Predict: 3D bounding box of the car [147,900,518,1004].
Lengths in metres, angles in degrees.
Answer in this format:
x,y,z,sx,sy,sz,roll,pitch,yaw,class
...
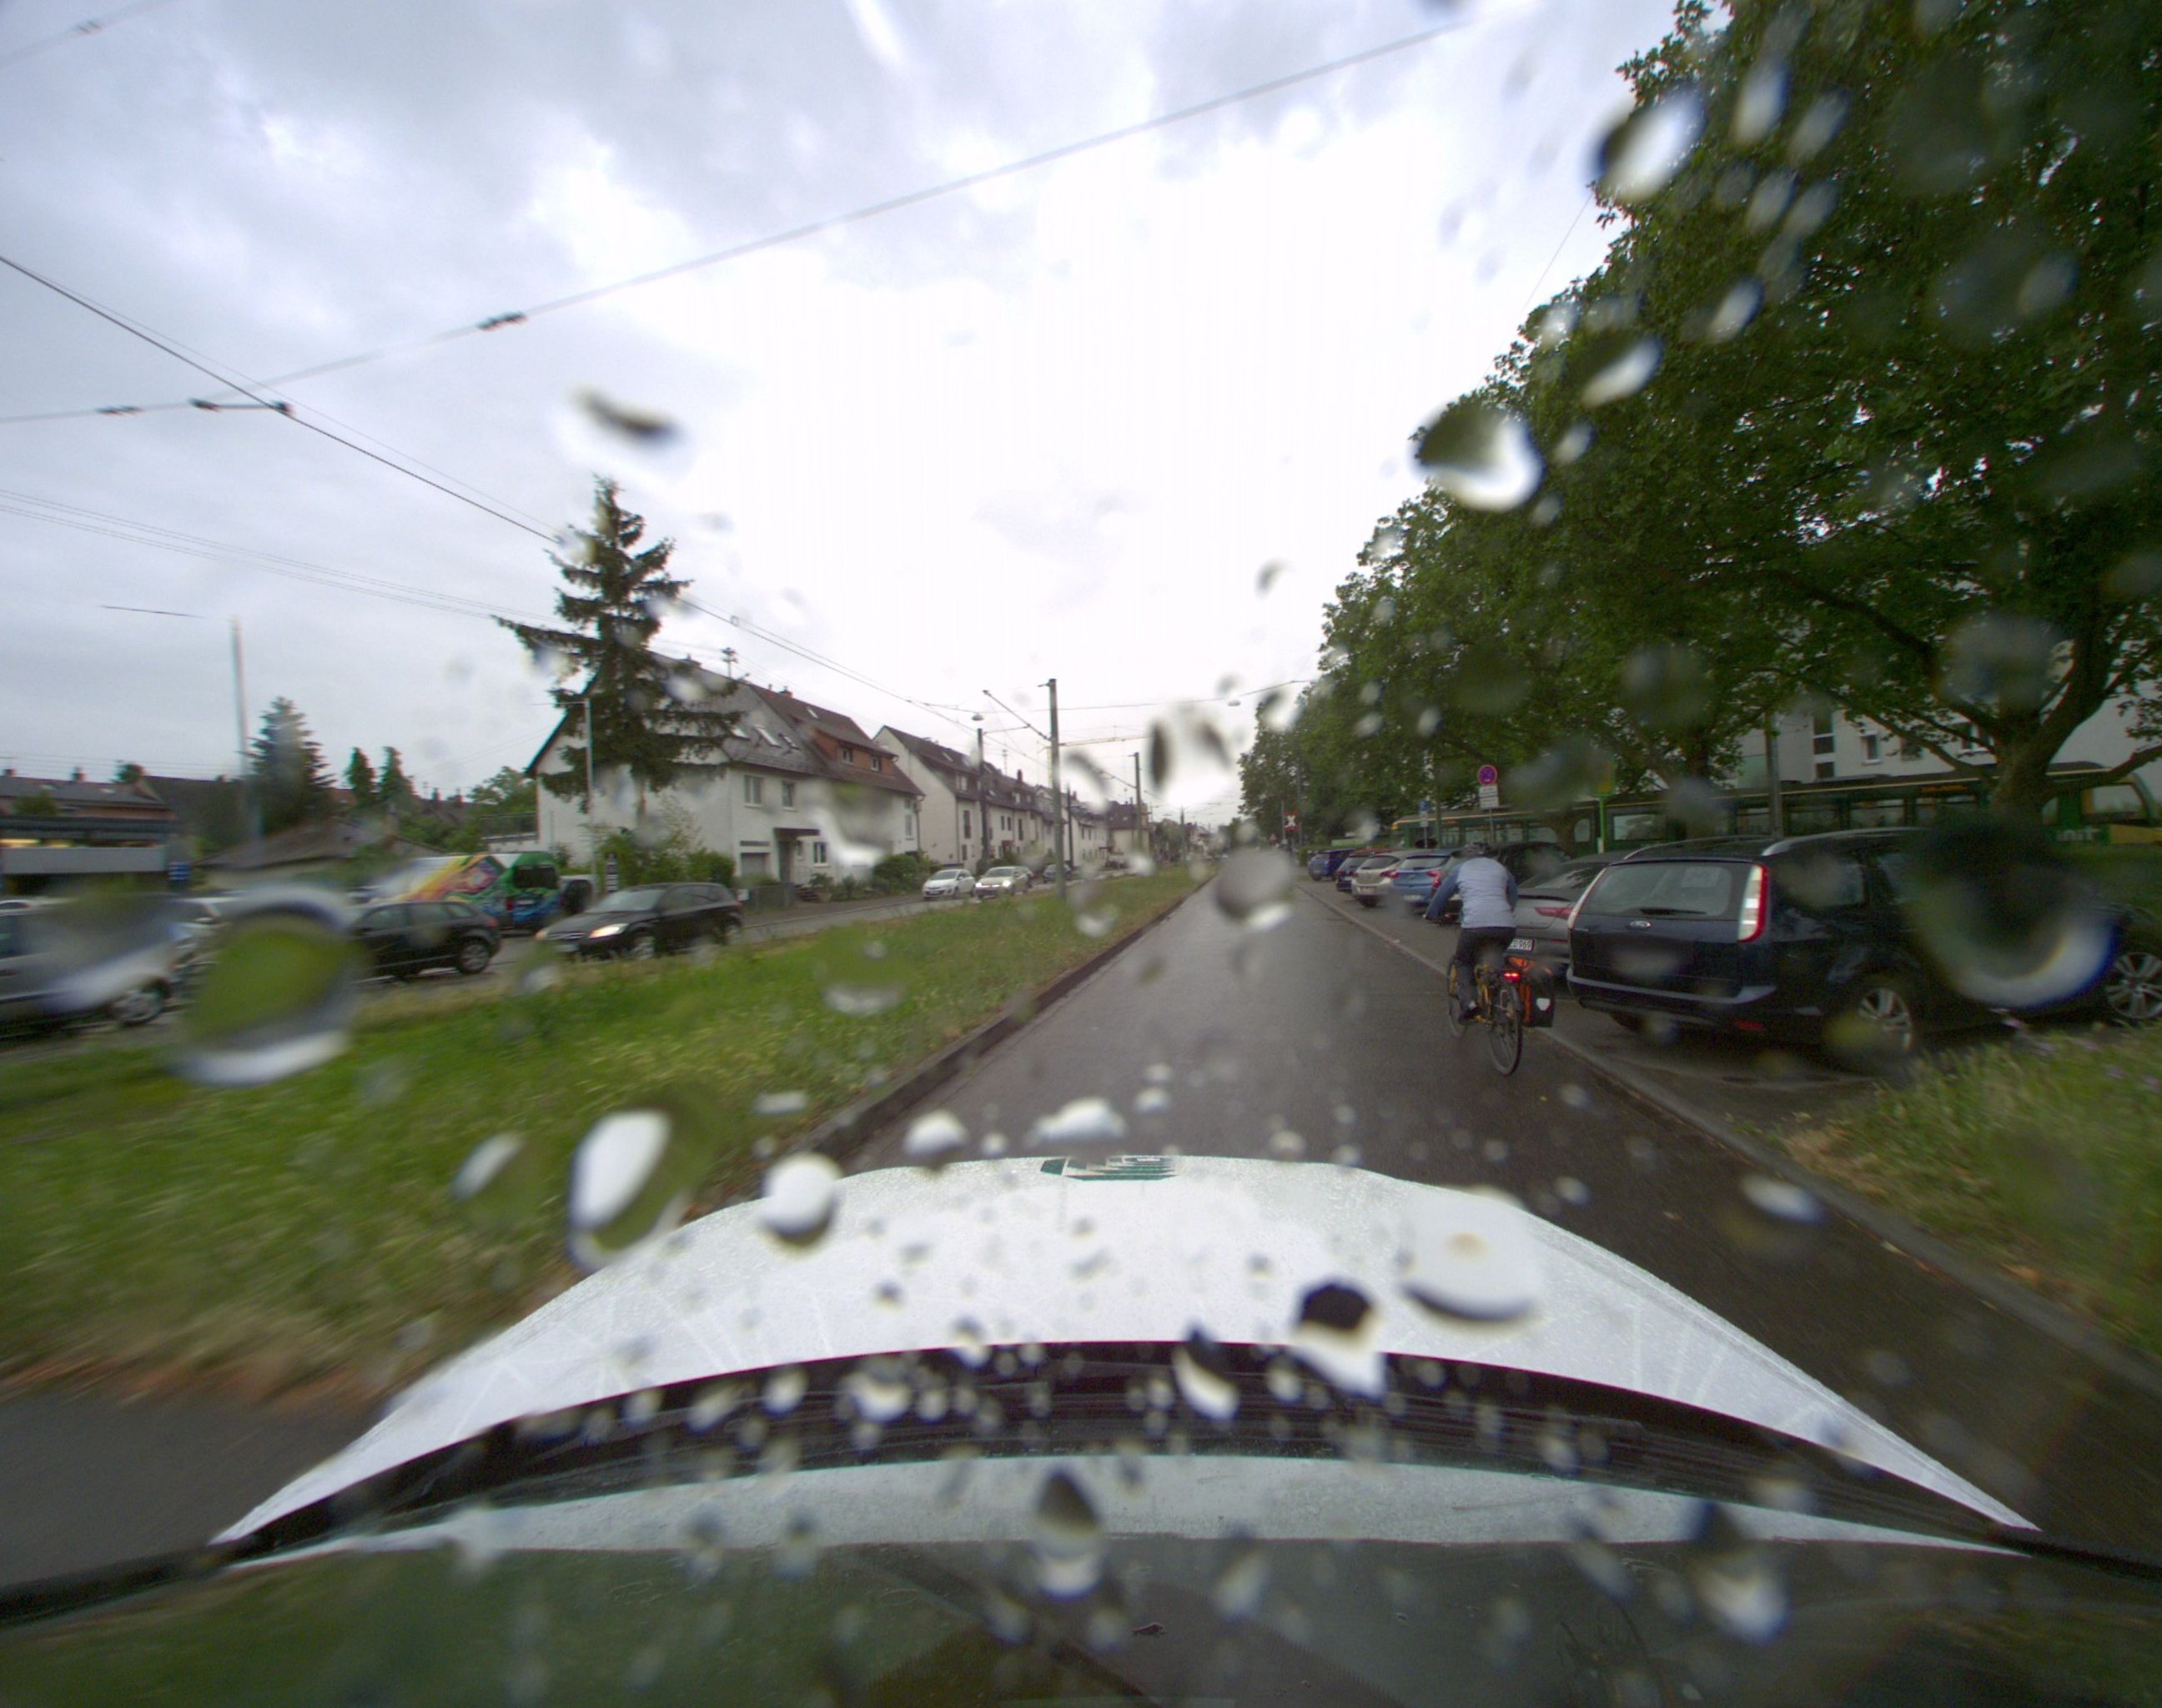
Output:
x,y,z,sx,sy,sz,roll,pitch,yaw,class
-12.186,1.531,13.756,1.706,1.339,4.402,-3,-3,12,car

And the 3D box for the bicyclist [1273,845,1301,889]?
x,y,z,sx,sy,sz,roll,pitch,yaw,class
7.625,0.492,30.186,0.826,1.558,0.916,-3,-2,8,bicyclist

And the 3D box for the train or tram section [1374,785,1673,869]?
x,y,z,sx,sy,sz,roll,pitch,yaw,class
22.829,-1.105,43.889,2.724,3.590,14.585,0,-2,-32,train or tram section

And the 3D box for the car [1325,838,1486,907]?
x,y,z,sx,sy,sz,roll,pitch,yaw,class
8.835,0.498,22.144,4.013,1.553,1.941,-3,-2,-31,car

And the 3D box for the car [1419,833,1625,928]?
x,y,z,sx,sy,sz,roll,pitch,yaw,class
8.708,0.502,16.097,3.523,1.506,1.740,-4,-2,-25,car

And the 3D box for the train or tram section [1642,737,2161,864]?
x,y,z,sx,sy,sz,roll,pitch,yaw,class
30.568,-1.571,31.549,2.724,3.590,14.585,0,-2,-32,train or tram section

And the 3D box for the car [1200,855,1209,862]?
x,y,z,sx,sy,sz,roll,pitch,yaw,class
32.997,1.254,217.405,1.980,1.544,4.013,-3,-3,13,car

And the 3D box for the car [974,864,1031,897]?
x,y,z,sx,sy,sz,roll,pitch,yaw,class
-3.734,1.289,39.232,1.590,1.424,3.832,-3,-3,12,car

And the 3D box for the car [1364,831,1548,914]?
x,y,z,sx,sy,sz,roll,pitch,yaw,class
8.869,0.425,19.224,4.012,1.500,1.807,-5,-1,-29,car

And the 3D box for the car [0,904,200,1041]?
x,y,z,sx,sy,sz,roll,pitch,yaw,class
-13.130,1.411,9.381,1.706,1.504,3.655,-3,-2,11,car

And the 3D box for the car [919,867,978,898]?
x,y,z,sx,sy,sz,roll,pitch,yaw,class
-6.630,1.434,41.053,1.590,1.424,3.956,-3,-3,12,car

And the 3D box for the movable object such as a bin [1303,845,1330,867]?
x,y,z,sx,sy,sz,roll,pitch,yaw,class
19.452,0.147,67.338,1.551,1.704,1.494,-3,-1,-12,movable object such as a bin

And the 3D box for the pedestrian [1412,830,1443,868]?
x,y,z,sx,sy,sz,roll,pitch,yaw,class
16.353,-0.231,38.441,1.038,1.714,1.084,-3,-1,11,pedestrian

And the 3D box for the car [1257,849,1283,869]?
x,y,z,sx,sy,sz,roll,pitch,yaw,class
16.342,0.475,70.595,1.942,1.553,4.011,-4,-2,10,car

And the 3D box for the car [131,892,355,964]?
x,y,z,sx,sy,sz,roll,pitch,yaw,class
-18.403,1.608,17.934,3.802,1.396,1.729,-3,-3,14,car

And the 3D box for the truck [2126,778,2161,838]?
x,y,z,sx,sy,sz,roll,pitch,yaw,class
65.983,-2.915,47.301,3.163,3.474,7.186,-3,-3,22,truck

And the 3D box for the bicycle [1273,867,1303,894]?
x,y,z,sx,sy,sz,roll,pitch,yaw,class
7.679,0.978,30.294,0.816,0.912,1.990,-3,-2,9,bicycle

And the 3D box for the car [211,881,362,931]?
x,y,z,sx,sy,sz,roll,pitch,yaw,class
-29.537,1.873,30.506,1.788,1.580,4.431,-3,0,-10,car

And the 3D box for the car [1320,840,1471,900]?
x,y,z,sx,sy,sz,roll,pitch,yaw,class
9.717,0.477,25.168,4.125,1.480,1.853,-4,0,-21,car

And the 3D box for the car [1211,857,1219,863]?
x,y,z,sx,sy,sz,roll,pitch,yaw,class
39.884,1.691,242.547,1.980,1.544,4.013,-3,-3,13,car

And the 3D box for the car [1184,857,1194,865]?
x,y,z,sx,sy,sz,roll,pitch,yaw,class
24.845,1.651,186.942,1.980,1.544,4.013,-3,-3,13,car

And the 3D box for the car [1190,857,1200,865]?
x,y,z,sx,sy,sz,roll,pitch,yaw,class
26.977,1.778,192.656,1.980,1.705,4.013,-3,-3,13,car

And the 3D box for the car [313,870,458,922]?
x,y,z,sx,sy,sz,roll,pitch,yaw,class
-24.414,1.405,28.812,1.860,1.580,4.384,-3,0,-10,car

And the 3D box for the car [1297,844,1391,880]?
x,y,z,sx,sy,sz,roll,pitch,yaw,class
12.972,0.370,40.226,4.001,1.483,1.986,-3,1,-21,car

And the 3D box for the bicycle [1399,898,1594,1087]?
x,y,z,sx,sy,sz,roll,pitch,yaw,class
3.061,0.955,6.232,0.748,1.072,1.932,-3,1,10,bicycle

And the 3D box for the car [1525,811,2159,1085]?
x,y,z,sx,sy,sz,roll,pitch,yaw,class
5.769,0.521,6.239,4.177,1.476,1.792,-2,0,-19,car

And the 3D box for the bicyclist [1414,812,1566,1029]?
x,y,z,sx,sy,sz,roll,pitch,yaw,class
3.016,0.463,6.093,0.746,1.485,0.849,-3,0,9,bicyclist

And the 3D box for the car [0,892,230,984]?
x,y,z,sx,sy,sz,roll,pitch,yaw,class
-18.712,1.597,15.631,3.579,1.573,1.729,-3,-3,14,car

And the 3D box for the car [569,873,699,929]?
x,y,z,sx,sy,sz,roll,pitch,yaw,class
-16.035,1.642,29.482,1.981,1.564,3.908,-2,3,11,car

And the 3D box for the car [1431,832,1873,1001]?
x,y,z,sx,sy,sz,roll,pitch,yaw,class
6.564,0.596,9.421,4.547,1.476,1.793,-3,0,-18,car

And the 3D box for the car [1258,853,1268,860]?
x,y,z,sx,sy,sz,roll,pitch,yaw,class
41.741,0.536,186.685,1.980,1.492,4.012,-3,-3,11,car

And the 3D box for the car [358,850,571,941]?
x,y,z,sx,sy,sz,roll,pitch,yaw,class
-18.323,1.244,24.304,5.100,2.406,2.158,-3,-3,10,car

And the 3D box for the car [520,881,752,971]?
x,y,z,sx,sy,sz,roll,pitch,yaw,class
-8.443,1.308,15.899,1.724,1.486,4.013,-3,-3,13,car

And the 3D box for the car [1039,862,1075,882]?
x,y,z,sx,sy,sz,roll,pitch,yaw,class
-1.873,1.444,64.524,1.865,1.504,4.145,-3,-3,11,car

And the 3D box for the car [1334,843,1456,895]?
x,y,z,sx,sy,sz,roll,pitch,yaw,class
10.797,0.495,28.081,3.594,1.480,1.629,-4,0,-15,car
